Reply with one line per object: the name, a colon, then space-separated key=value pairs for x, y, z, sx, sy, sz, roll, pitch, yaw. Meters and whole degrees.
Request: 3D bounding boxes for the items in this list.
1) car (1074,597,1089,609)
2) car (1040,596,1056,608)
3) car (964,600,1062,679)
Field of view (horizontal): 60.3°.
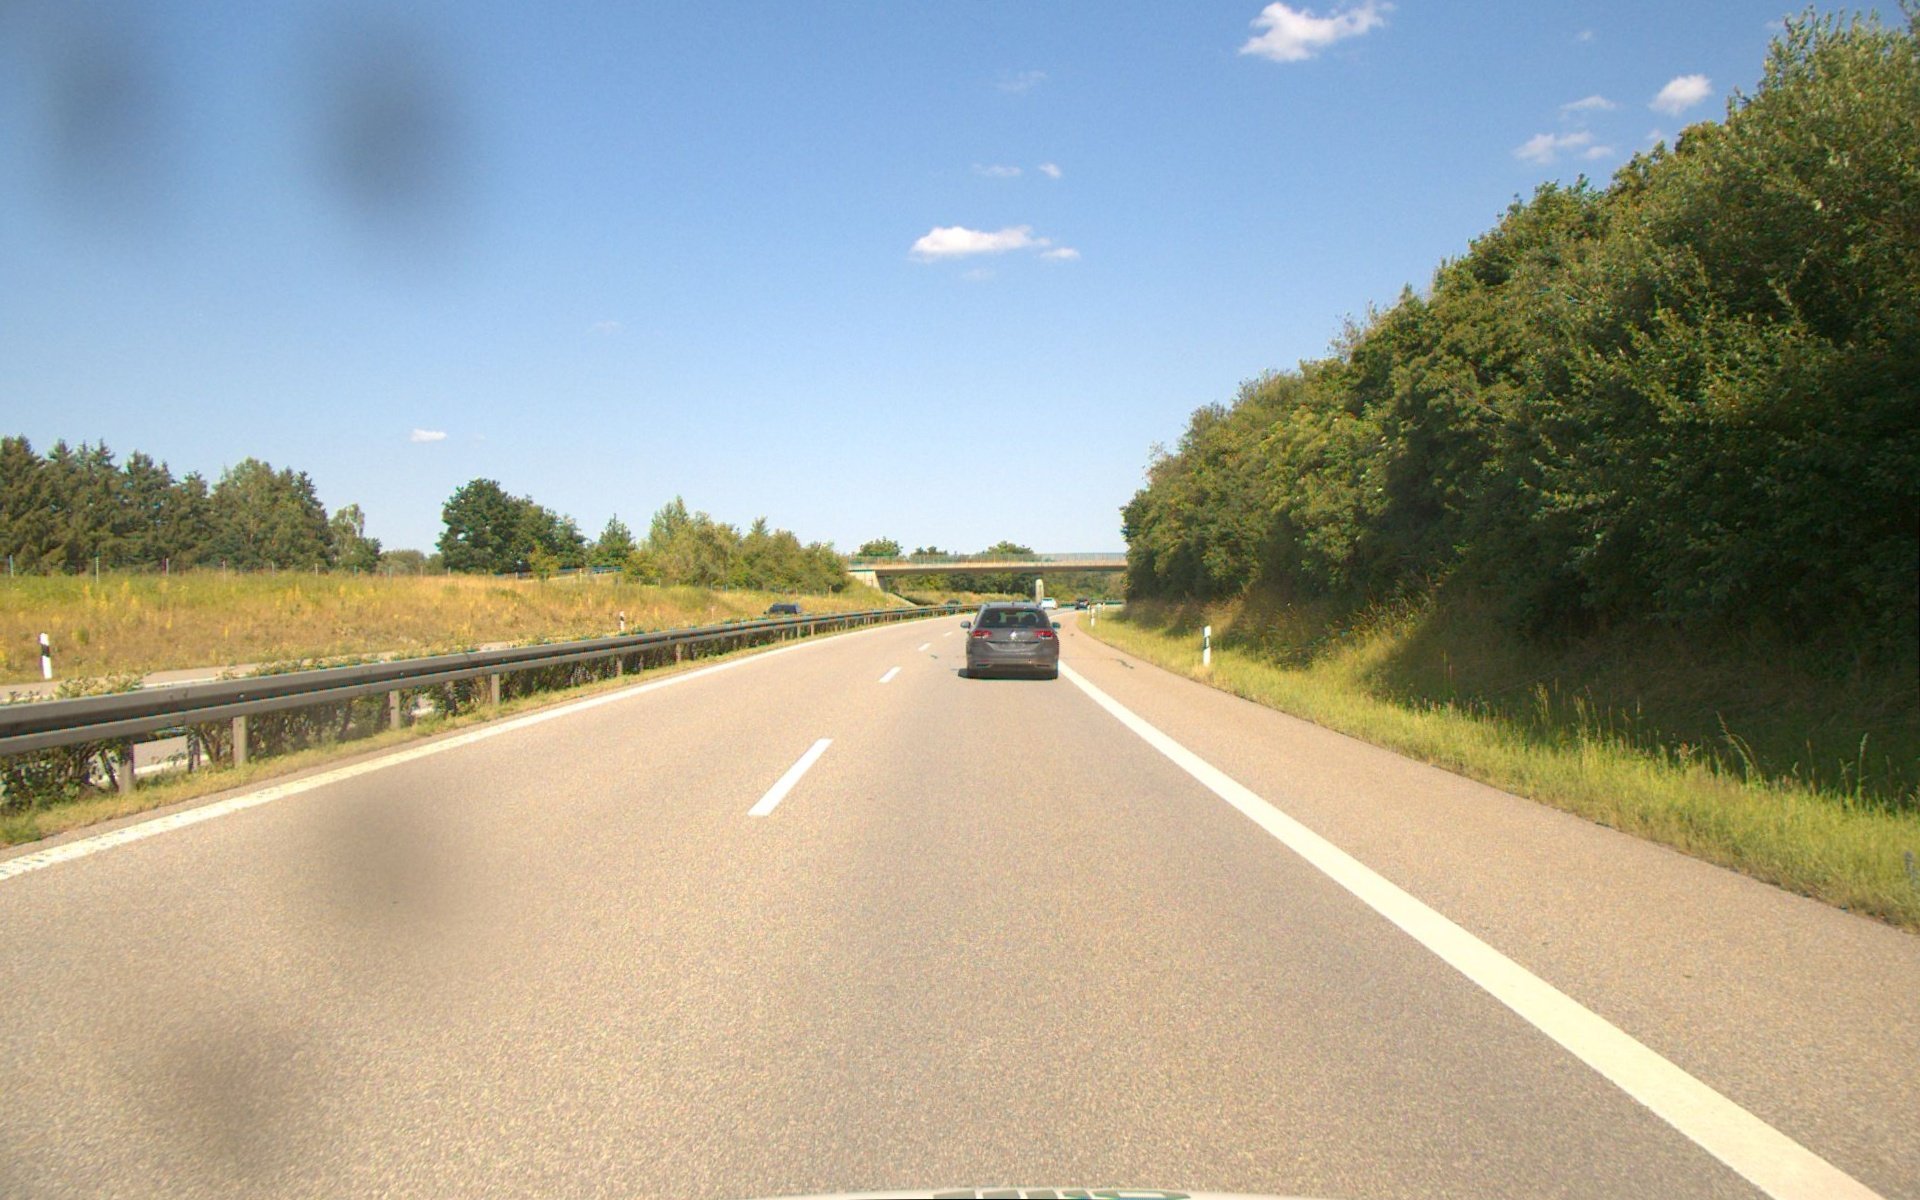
car: x=15.486 y=0.368 z=210.270 sx=1.675 sy=1.411 sz=3.355 roll=1 pitch=-1 yaw=1
car: x=10.951 y=0.206 z=205.712 sx=1.965 sy=1.368 sz=4.001 roll=1 pitch=-1 yaw=2
car: x=1.049 y=0.719 z=32.272 sx=1.754 sy=1.368 sz=4.001 roll=2 pitch=0 yaw=2
